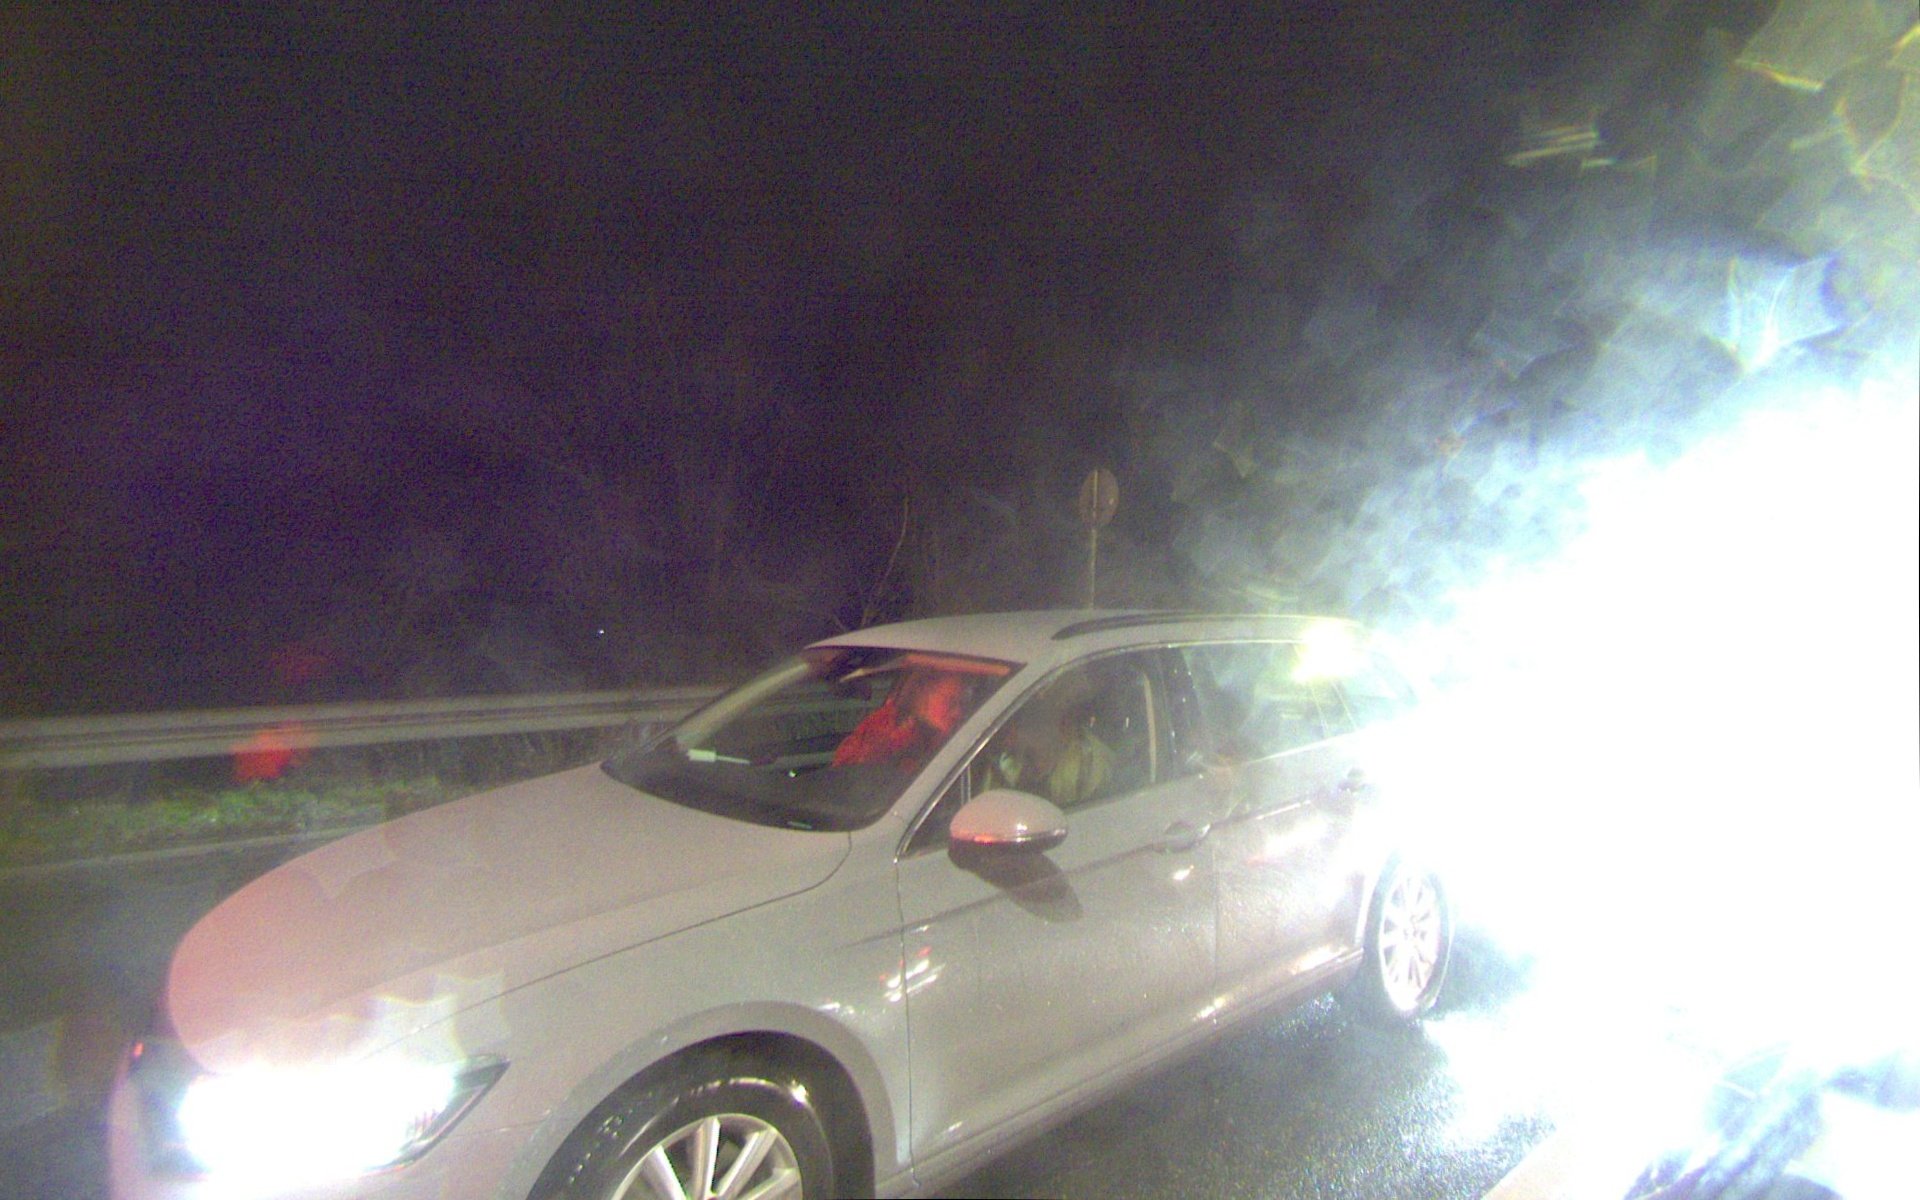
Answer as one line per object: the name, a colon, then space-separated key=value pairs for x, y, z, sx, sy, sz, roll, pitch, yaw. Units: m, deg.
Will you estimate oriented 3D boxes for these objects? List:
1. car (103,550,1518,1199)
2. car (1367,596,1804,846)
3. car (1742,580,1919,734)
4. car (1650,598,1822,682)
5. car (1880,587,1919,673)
car: x=0.042 y=0.682 z=3.330 sx=4.336 sy=1.541 sz=1.710 roll=-1 pitch=0 yaw=-40
car: x=5.045 y=0.703 z=7.940 sx=4.067 sy=1.435 sz=1.742 roll=-1 pitch=0 yaw=-40
car: x=11.466 y=0.577 z=12.531 sx=4.315 sy=1.618 sz=1.997 roll=-1 pitch=2 yaw=-41
car: x=15.898 y=0.759 z=20.666 sx=4.263 sy=1.500 sz=1.996 roll=-1 pitch=-1 yaw=-42
car: x=19.924 y=0.561 z=20.061 sx=4.315 sy=1.618 sz=1.997 roll=-1 pitch=2 yaw=-41
